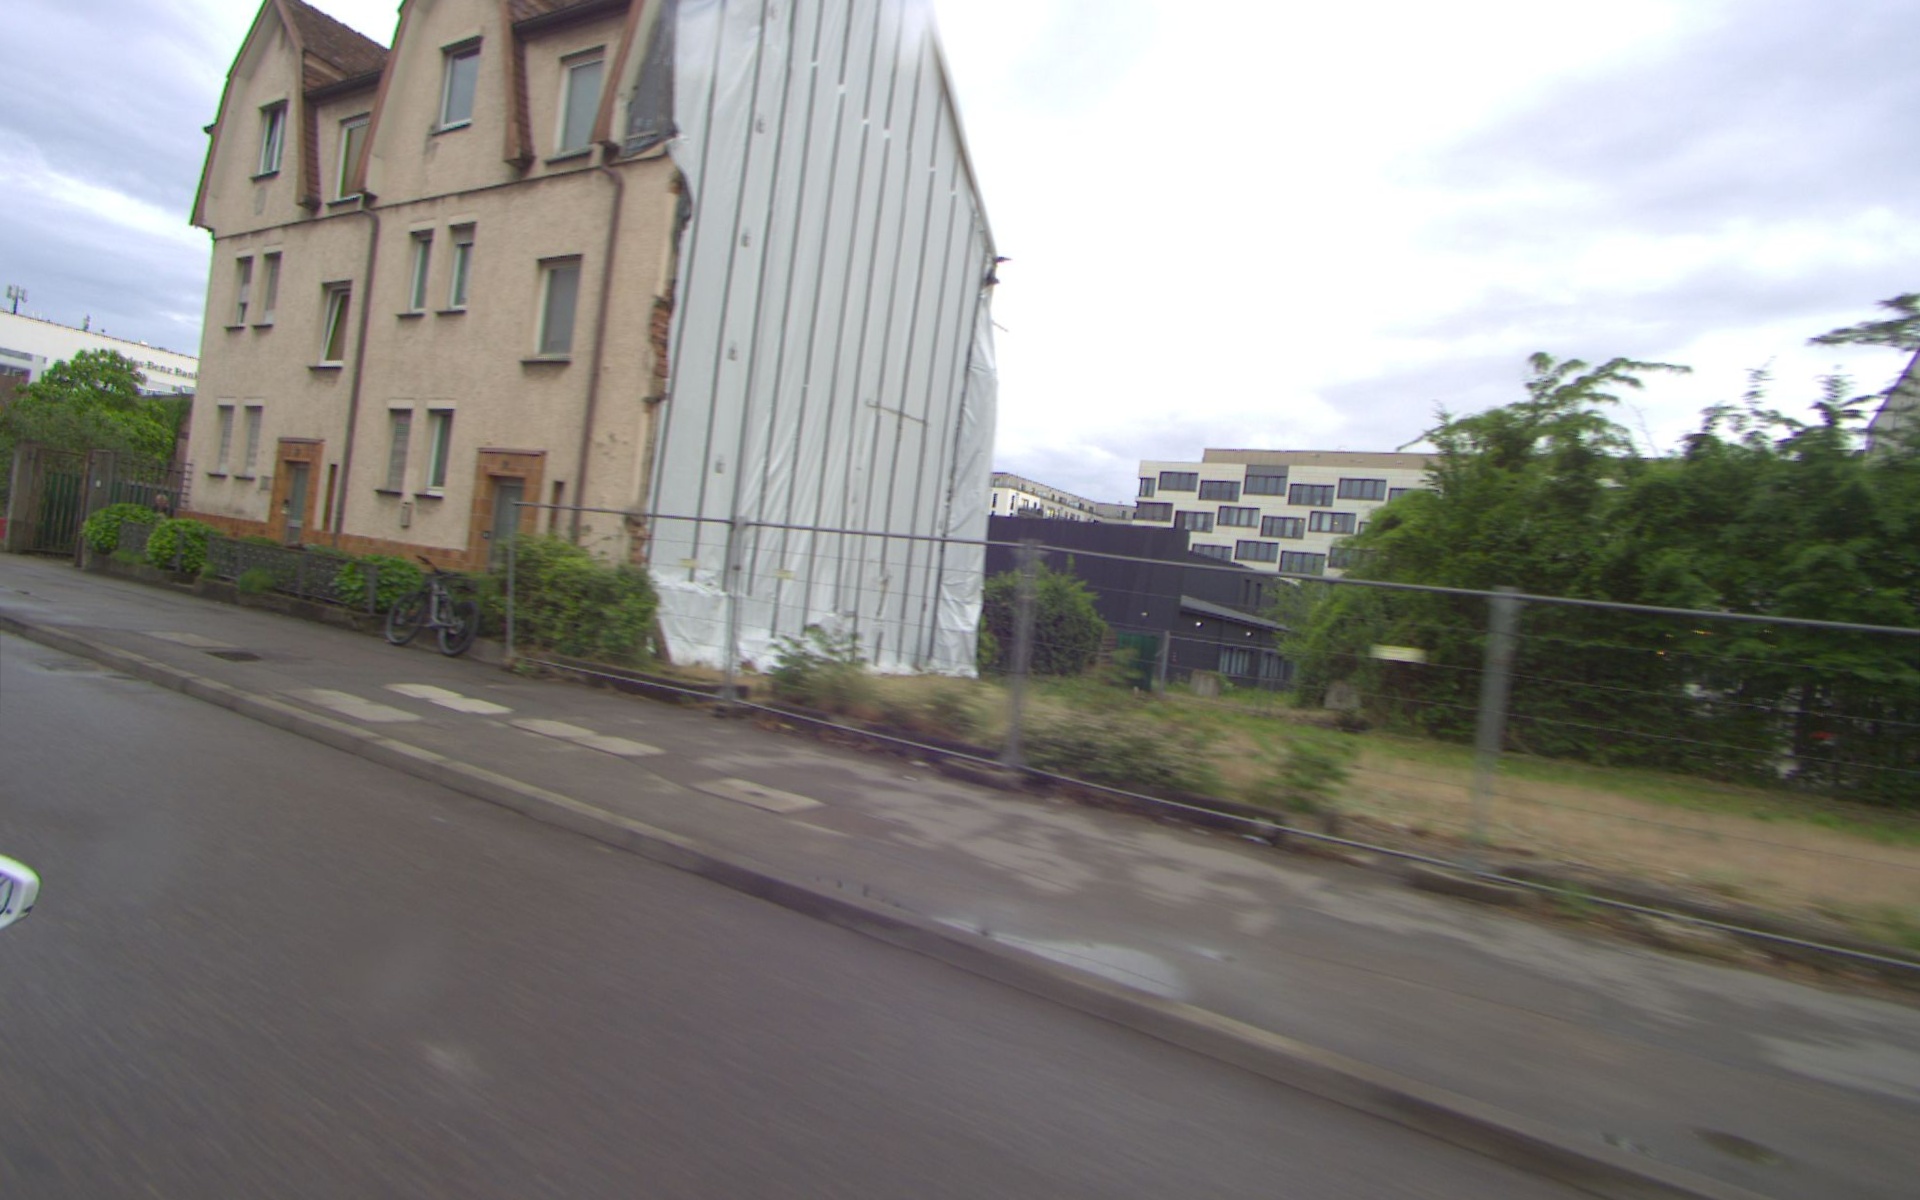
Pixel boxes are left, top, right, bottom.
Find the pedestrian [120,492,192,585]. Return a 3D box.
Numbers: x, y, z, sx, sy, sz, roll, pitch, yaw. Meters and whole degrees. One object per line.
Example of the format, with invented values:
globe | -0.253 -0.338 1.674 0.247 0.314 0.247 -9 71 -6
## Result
pedestrian | -17.023 -1.298 21.310 0.757 1.784 0.910 7 -1 44
